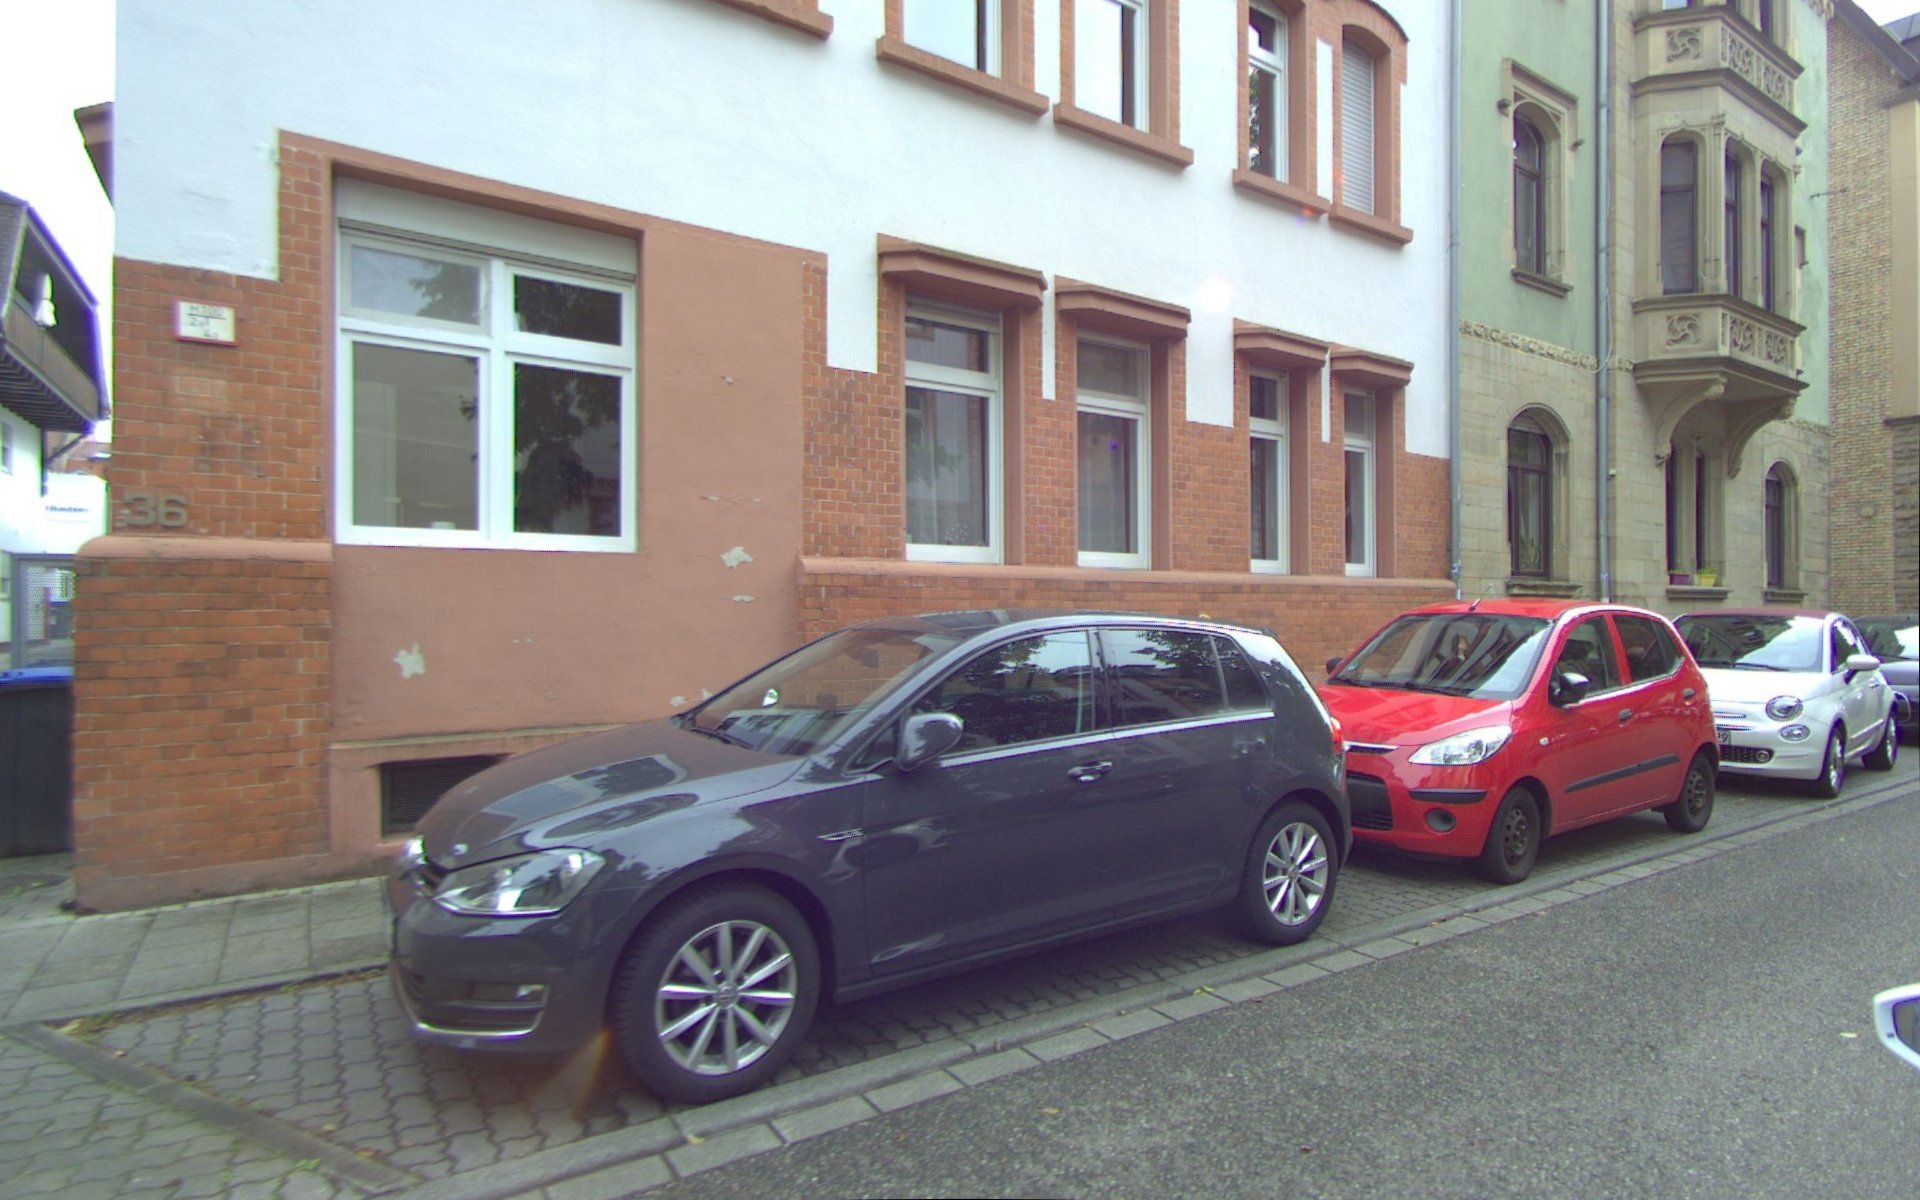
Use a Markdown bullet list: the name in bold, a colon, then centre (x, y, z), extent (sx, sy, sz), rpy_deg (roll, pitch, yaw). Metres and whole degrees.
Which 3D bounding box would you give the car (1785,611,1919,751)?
- **car**: centre (11.512, 0.886, 12.090), extent (3.418, 1.453, 1.508), rpy_deg (0, 1, -33)

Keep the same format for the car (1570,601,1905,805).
- **car**: centre (7.249, 0.785, 9.269), extent (3.522, 1.531, 1.653), rpy_deg (0, 0, -38)

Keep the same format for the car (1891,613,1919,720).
- **car**: centre (15.083, 0.934, 14.540), extent (3.771, 1.453, 1.579), rpy_deg (0, 1, -35)

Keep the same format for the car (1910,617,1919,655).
- **car**: centre (39.754, 1.387, 39.172), extent (1.626, 1.479, 3.560), rpy_deg (-2, -1, -24)

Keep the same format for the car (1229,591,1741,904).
- **car**: centre (3.526, 0.727, 6.575), extent (3.530, 1.551, 1.456), rpy_deg (0, 1, -34)

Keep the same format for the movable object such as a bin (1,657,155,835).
- **movable object such as a bin**: centre (-5.888, 0.939, 6.746), extent (0.671, 1.066, 0.661), rpy_deg (0, 0, -32)

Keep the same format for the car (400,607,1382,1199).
- **car**: centre (-0.061, 0.767, 4.172), extent (3.876, 1.436, 1.456), rpy_deg (0, 1, -34)

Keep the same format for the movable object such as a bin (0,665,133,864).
- **movable object such as a bin**: centre (-5.421, 0.951, 6.005), extent (0.640, 1.066, 0.686), rpy_deg (0, 0, -32)
